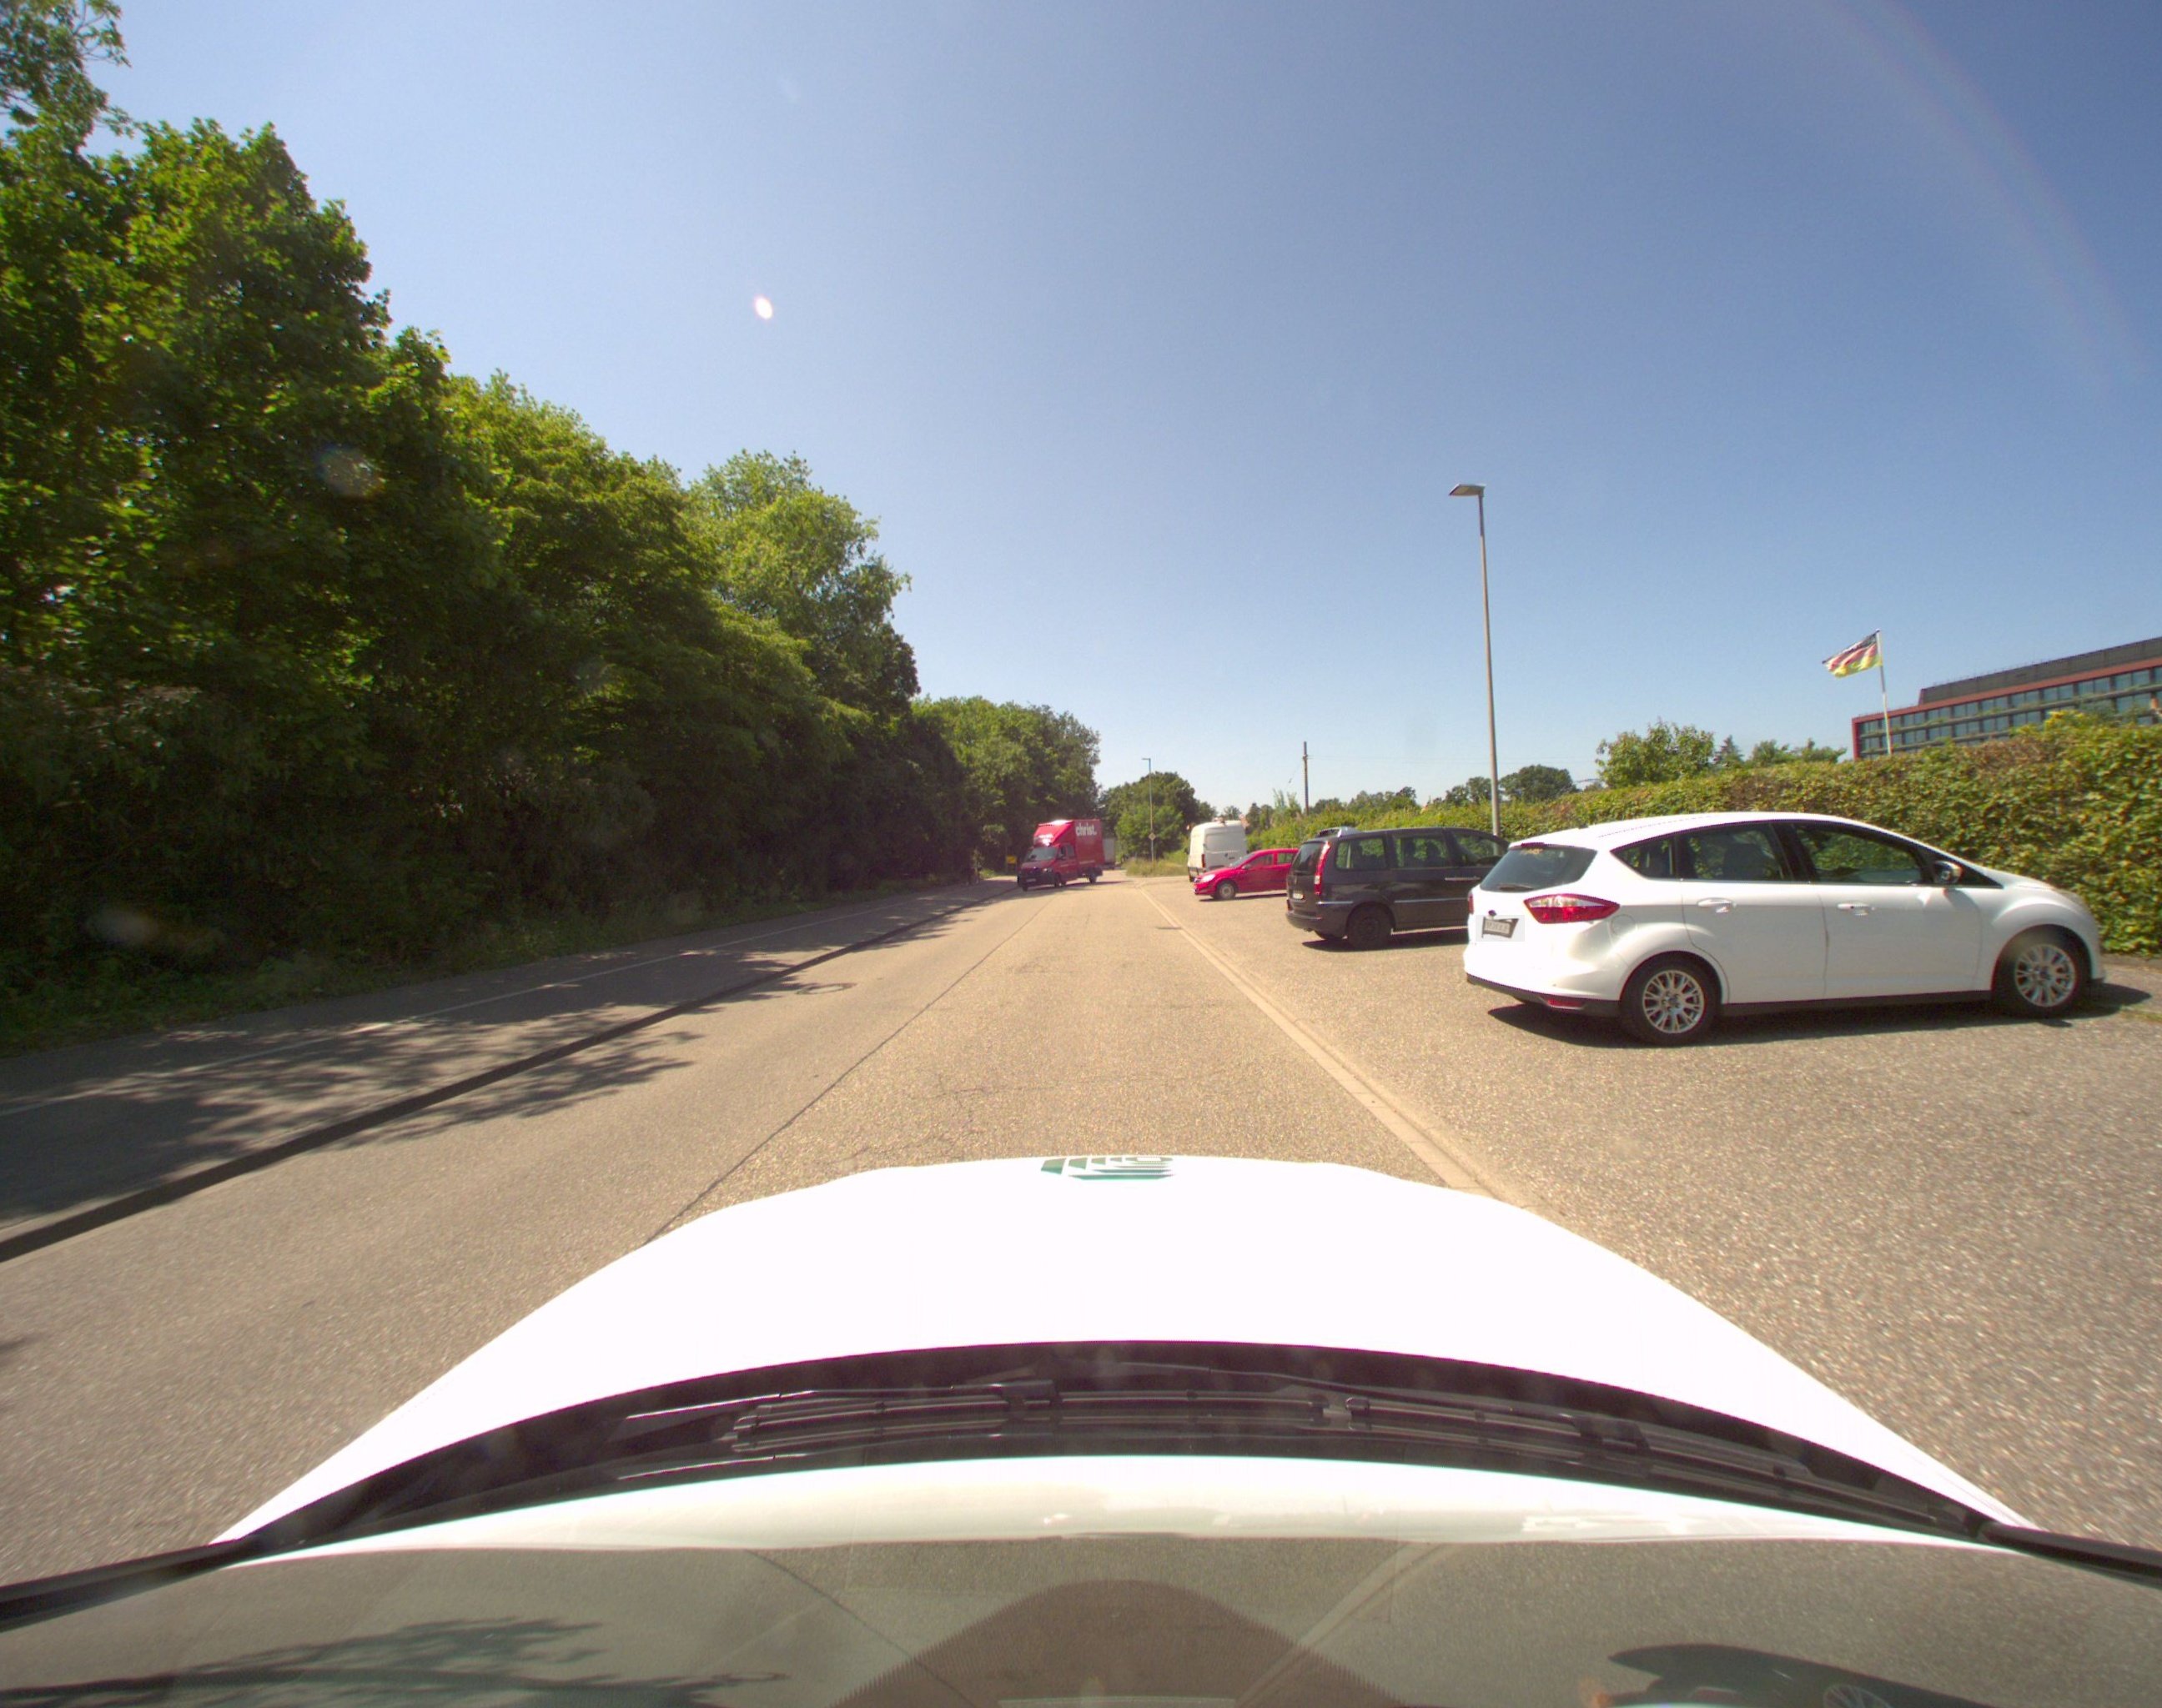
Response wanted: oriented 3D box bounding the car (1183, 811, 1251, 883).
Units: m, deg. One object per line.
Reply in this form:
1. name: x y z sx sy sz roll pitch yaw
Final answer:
1. car: 5.893 -0.295 36.177 1.946 2.733 7.171 -4 0 2

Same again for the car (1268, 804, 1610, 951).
1. car: 5.465 0.343 12.835 4.443 1.805 1.950 -4 -1 -4

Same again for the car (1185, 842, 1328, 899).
1. car: 5.465 0.506 25.693 4.043 1.434 1.834 -4 0 -2

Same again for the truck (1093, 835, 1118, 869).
1. truck: 2.995 -0.206 98.723 2.723 3.746 13.251 -1 0 2

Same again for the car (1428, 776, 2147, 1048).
1. car: 5.353 0.397 6.588 4.264 1.578 1.764 -4 0 -1

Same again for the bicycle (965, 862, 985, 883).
1. bicycle: -6.340 1.109 48.851 0.518 1.236 1.968 -1 -1 13

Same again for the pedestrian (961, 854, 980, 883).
1. pedestrian: -6.637 0.882 48.975 0.802 1.718 0.780 -1 0 17

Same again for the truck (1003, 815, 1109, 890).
1. truck: -1.127 -0.174 42.730 2.301 3.440 7.203 -5 0 25
